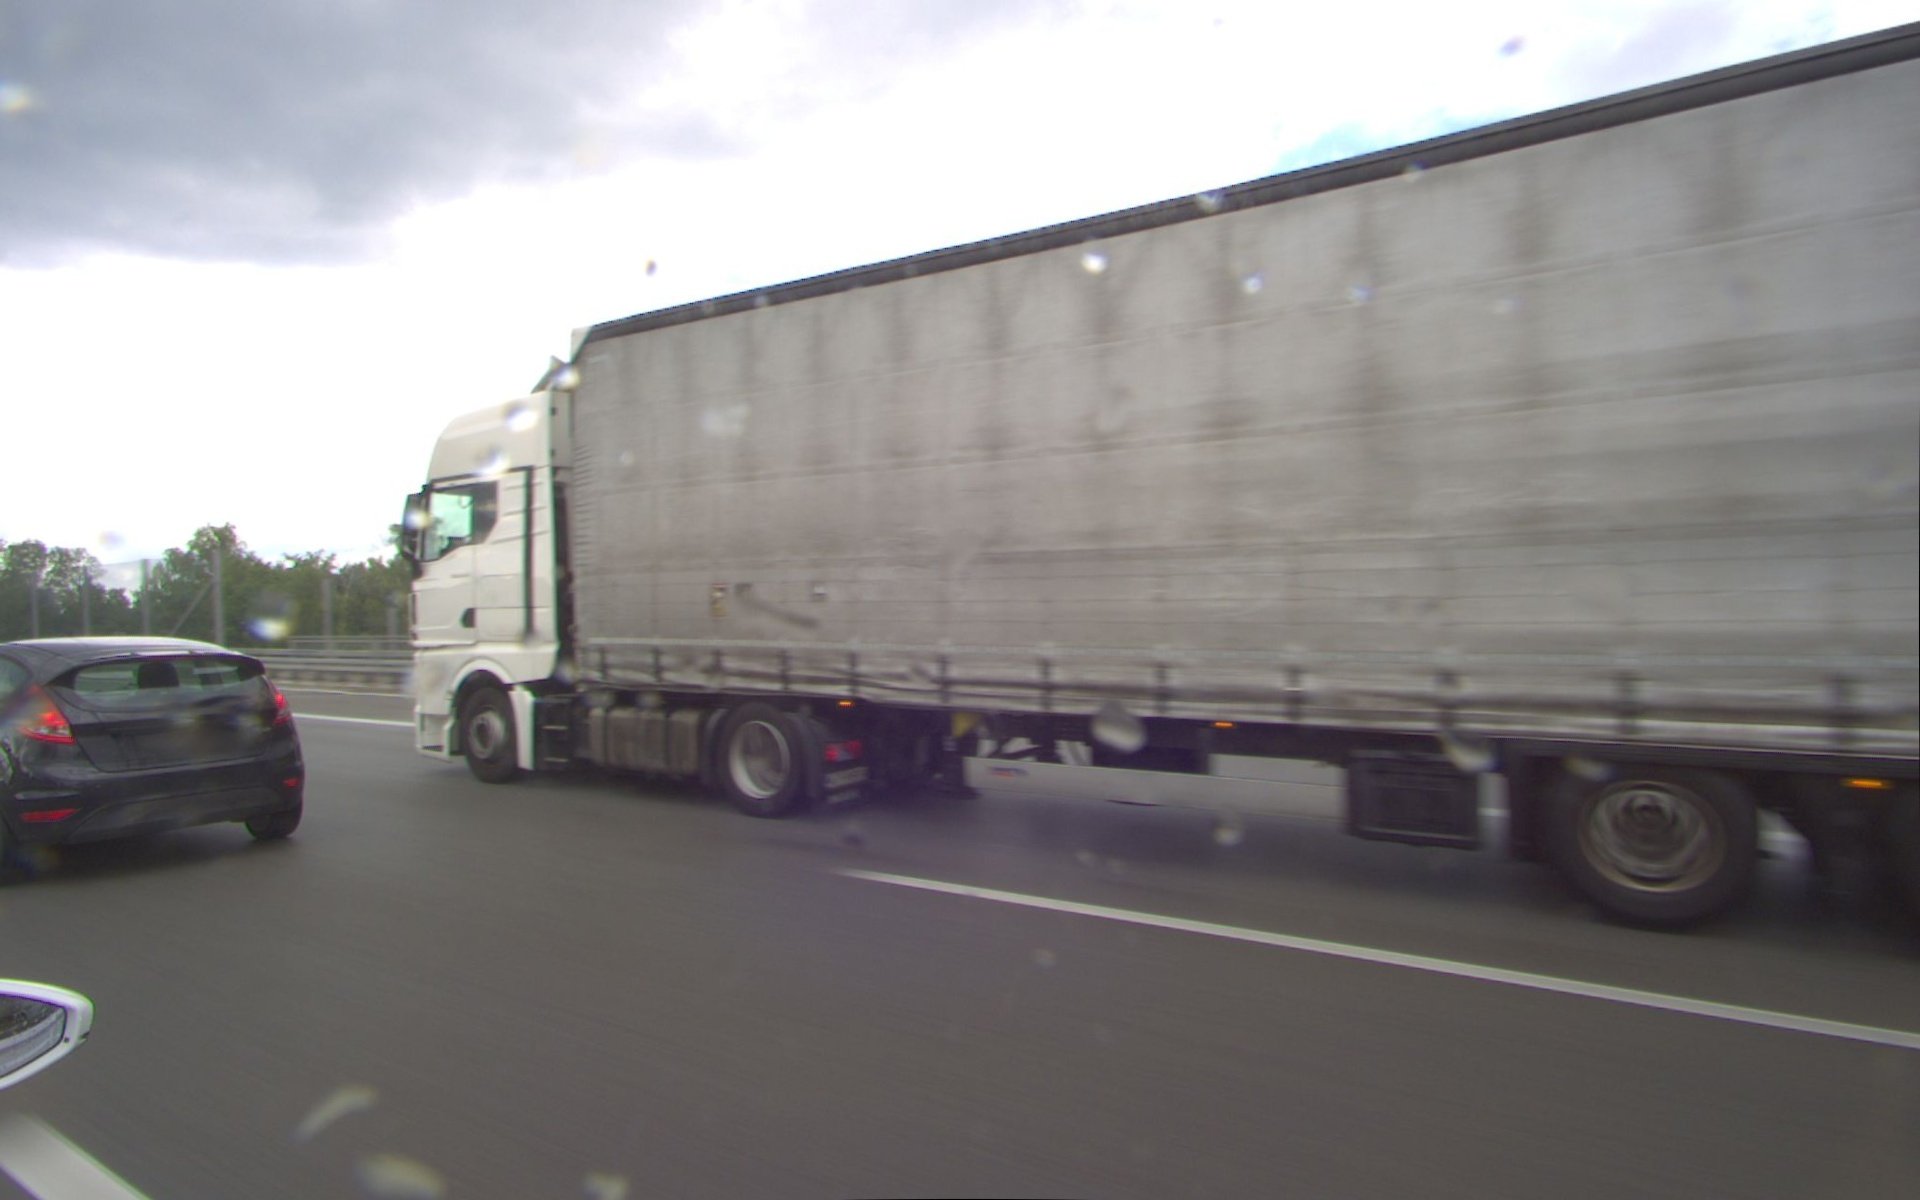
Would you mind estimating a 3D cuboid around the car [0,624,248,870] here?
[{"bbox_3d":[-6.810,0.920,7.395,3.117,1.460,1.444,0,-1,32],"label":"car"}]

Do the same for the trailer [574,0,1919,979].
[{"bbox_3d":[3.336,-0.439,6.262,13.912,4.072,2.956,0,-1,32],"label":"trailer"}]

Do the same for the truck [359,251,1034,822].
[{"bbox_3d":[-2.816,-0.413,10.125,6.492,4.072,2.956,0,-1,32],"label":"truck"}]
